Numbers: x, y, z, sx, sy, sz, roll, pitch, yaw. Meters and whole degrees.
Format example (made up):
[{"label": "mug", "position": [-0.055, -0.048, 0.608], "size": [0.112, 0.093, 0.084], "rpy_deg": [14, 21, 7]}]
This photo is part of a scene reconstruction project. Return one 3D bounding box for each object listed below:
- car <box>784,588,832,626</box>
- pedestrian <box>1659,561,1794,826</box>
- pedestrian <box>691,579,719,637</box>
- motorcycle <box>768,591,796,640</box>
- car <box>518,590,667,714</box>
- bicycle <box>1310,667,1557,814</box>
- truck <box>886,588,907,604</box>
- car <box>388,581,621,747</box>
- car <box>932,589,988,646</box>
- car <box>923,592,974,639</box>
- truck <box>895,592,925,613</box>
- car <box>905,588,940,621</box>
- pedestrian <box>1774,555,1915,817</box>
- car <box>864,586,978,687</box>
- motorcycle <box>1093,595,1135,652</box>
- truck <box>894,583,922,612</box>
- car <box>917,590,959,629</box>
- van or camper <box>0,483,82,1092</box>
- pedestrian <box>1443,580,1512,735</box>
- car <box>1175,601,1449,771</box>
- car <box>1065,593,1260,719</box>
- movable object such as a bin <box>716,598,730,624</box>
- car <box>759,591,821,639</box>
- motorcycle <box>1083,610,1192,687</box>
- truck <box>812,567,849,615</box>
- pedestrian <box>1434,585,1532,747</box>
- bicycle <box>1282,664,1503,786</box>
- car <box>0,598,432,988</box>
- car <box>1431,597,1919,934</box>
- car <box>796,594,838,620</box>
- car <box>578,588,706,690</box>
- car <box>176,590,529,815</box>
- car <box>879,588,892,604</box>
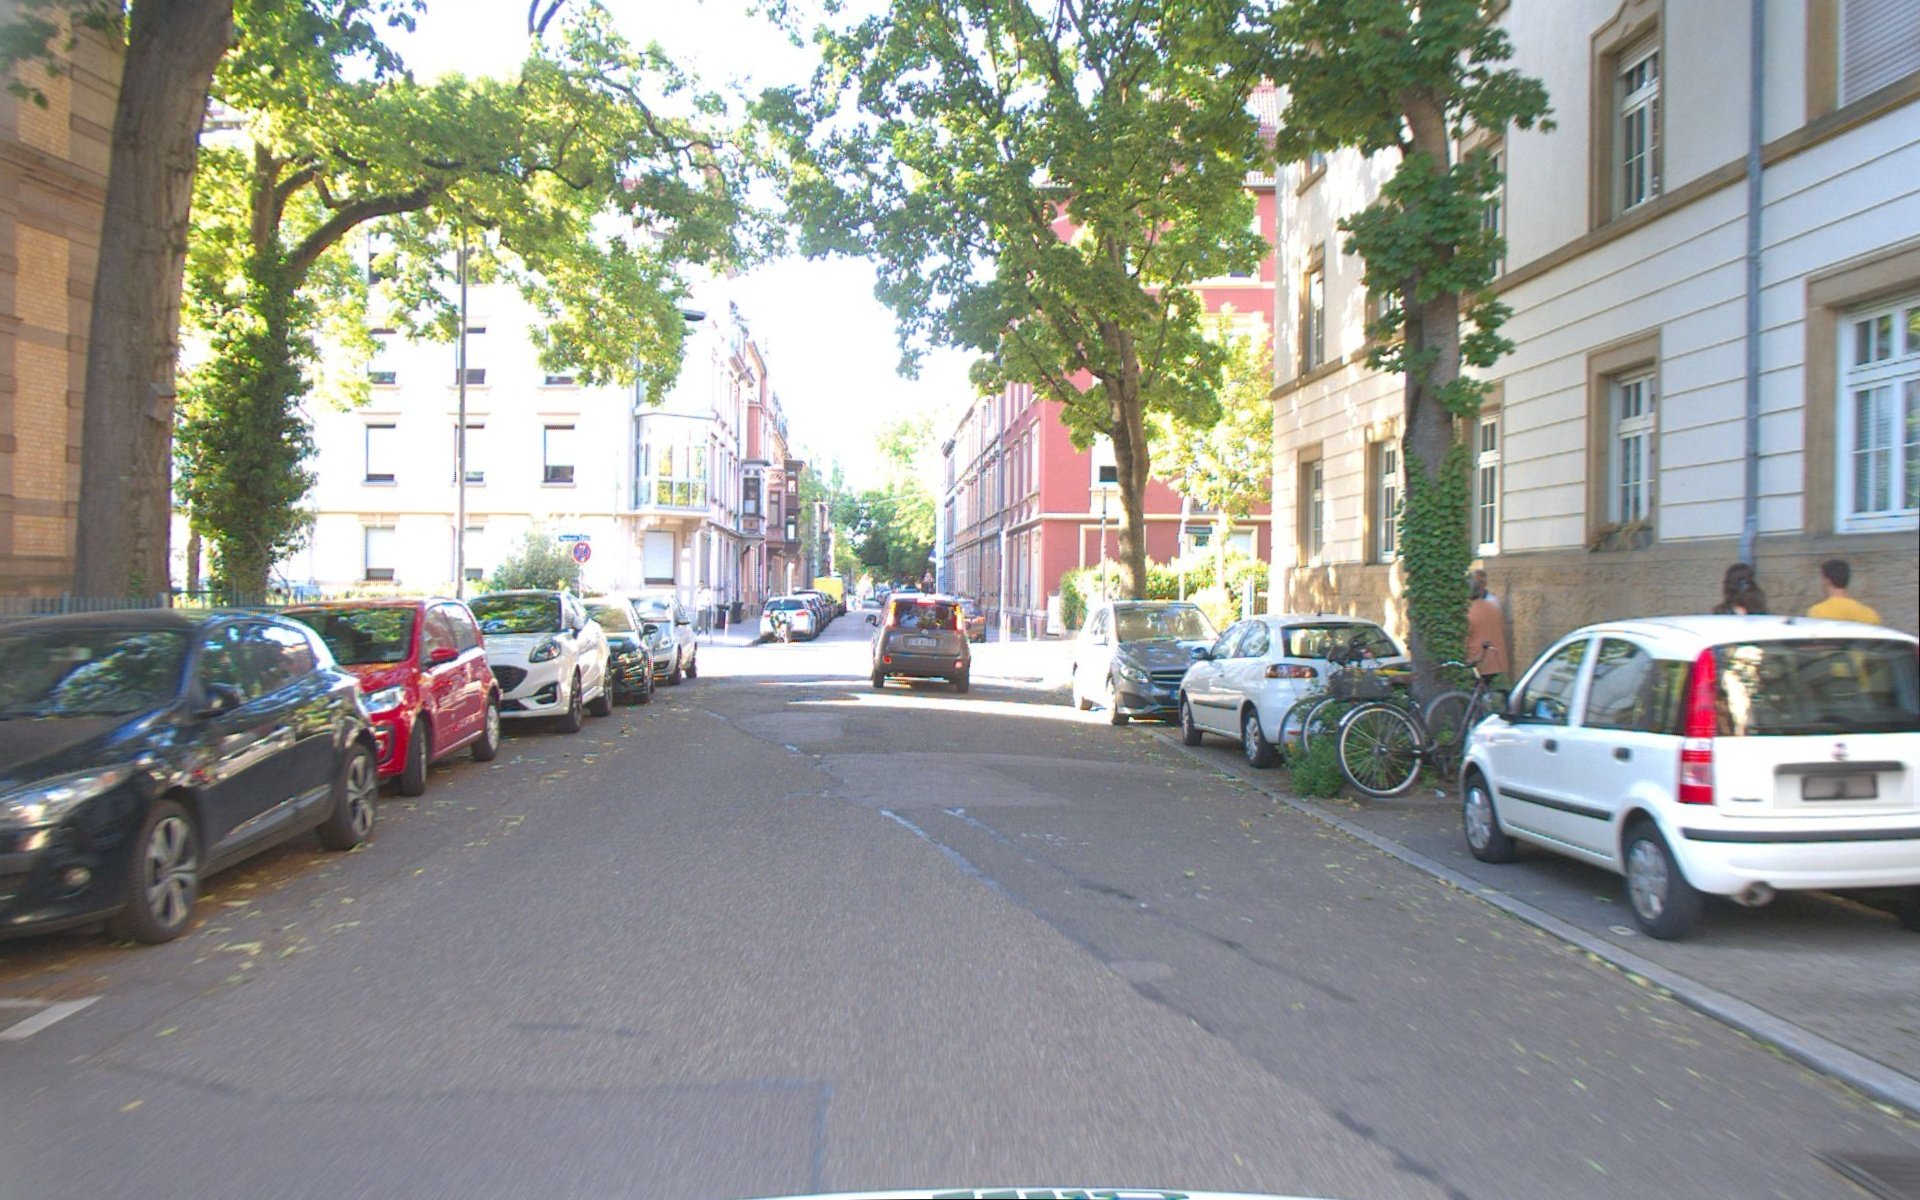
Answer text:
[{"label": "car", "position": [-6.577, 0.290, 72.005], "size": [1.792, 1.504, 3.923], "rpy_deg": [-3, 1, -2]}, {"label": "pedestrian", "position": [5.300, 0.623, 11.470], "size": [0.509, 1.765, 0.878], "rpy_deg": [0, 0, -2]}, {"label": "pedestrian", "position": [-8.356, 0.255, 54.225], "size": [0.707, 1.871, 0.627], "rpy_deg": [1, 0, 8]}, {"label": "motorcycle", "position": [-5.642, 0.478, 52.334], "size": [0.684, 1.486, 1.745], "rpy_deg": [-1, 0, -12]}, {"label": "car", "position": [-5.185, 0.660, 23.822], "size": [1.714, 1.500, 4.455], "rpy_deg": [-3, 1, -9]}, {"label": "bicycle", "position": [3.682, 1.087, 12.929], "size": [1.734, 1.057, 0.605], "rpy_deg": [1, 0, -3]}, {"label": "truck", "position": [-6.006, -0.416, 156.242], "size": [1.954, 1.482, 3.998], "rpy_deg": [0, 0, -3]}, {"label": "car", "position": [-5.045, 0.641, 18.884], "size": [1.790, 1.581, 4.129], "rpy_deg": [-3, 0, -5]}, {"label": "car", "position": [-0.027, 0.535, 53.506], "size": [1.629, 1.698, 3.755], "rpy_deg": [2, 0, -2]}, {"label": "car", "position": [-0.429, 0.519, 57.981], "size": [1.629, 1.531, 3.755], "rpy_deg": [2, 0, -2]}, {"label": "truck", "position": [-3.550, 0.167, 116.768], "size": [1.954, 1.482, 3.998], "rpy_deg": [0, 0, -3]}, {"label": "car", "position": [-1.886, 0.208, 82.601], "size": [1.629, 1.531, 3.755], "rpy_deg": [2, 0, -2]}, {"label": "pedestrian", "position": [6.022, 0.564, 11.283], "size": [0.583, 1.731, 0.688], "rpy_deg": [0, 0, -2]}, {"label": "car", "position": [-0.716, 0.572, 27.802], "size": [1.601, 1.577, 3.260], "rpy_deg": [1, 0, -7]}, {"label": "motorcycle", "position": [4.212, 0.614, 45.219], "size": [0.998, 1.428, 2.194], "rpy_deg": [0, 2, 9]}, {"label": "truck", "position": [-3.879, -0.198, 122.135], "size": [1.954, 2.026, 3.998], "rpy_deg": [0, 0, -3]}, {"label": "car", "position": [-0.955, 0.373, 68.964], "size": [1.629, 1.531, 3.755], "rpy_deg": [2, 0, -2]}, {"label": "van or camper", "position": [-3.979, 0.662, 3.208], "size": [1.884, 2.014, 5.457], "rpy_deg": [-3, 0, -4]}, {"label": "pedestrian", "position": [5.954, 0.645, 19.056], "size": [0.480, 1.735, 0.756], "rpy_deg": [-1, 0, -4]}, {"label": "car", "position": [3.472, 0.784, 17.033], "size": [1.580, 1.504, 3.864], "rpy_deg": [0, 0, -7]}, {"label": "car", "position": [2.687, 0.701, 22.982], "size": [1.754, 1.578, 4.404], "rpy_deg": [1, 0, -6]}, {"label": "movable object such as a bin", "position": [-9.069, 0.427, 63.331], "size": [0.502, 0.969, 0.500], "rpy_deg": [0, 0, -6]}, {"label": "car", "position": [-5.682, 0.481, 55.633], "size": [1.761, 1.456, 3.923], "rpy_deg": [-3, 1, -2]}, {"label": "motorcycle", "position": [3.040, 0.827, 28.356], "size": [1.811, 1.288, 0.505], "rpy_deg": [0, 0, 11]}, {"label": "truck", "position": [-8.458, -0.601, 108.144], "size": [2.029, 2.976, 5.065], "rpy_deg": [-3, 0, -2]}, {"label": "pedestrian", "position": [5.729, 0.704, 18.156], "size": [0.762, 1.724, 0.874], "rpy_deg": [1, 0, 0]}, {"label": "bicycle", "position": [3.680, 1.056, 14.152], "size": [1.681, 0.966, 0.733], "rpy_deg": [0, 0, -3]}, {"label": "car", "position": [-4.413, 0.775, 8.706], "size": [1.961, 1.483, 4.603], "rpy_deg": [-2, 0, -3]}, {"label": "car", "position": [4.004, 0.763, 9.420], "size": [1.490, 1.537, 3.542], "rpy_deg": [0, 0, -3]}, {"label": "car", "position": [-7.462, 0.344, 86.416], "size": [1.922, 1.246, 3.923], "rpy_deg": [-3, 1, -2]}, {"label": "car", "position": [-5.480, 0.616, 28.911], "size": [1.663, 1.577, 3.916], "rpy_deg": [-3, 1, -4]}, {"label": "car", "position": [-4.772, 0.699, 13.592], "size": [1.570, 1.485, 4.025], "rpy_deg": [-2, 1, -4]}, {"label": "car", "position": [-7.898, -0.415, 175.764], "size": [1.340, 1.646, 3.412], "rpy_deg": [0, 0, -2]}]
